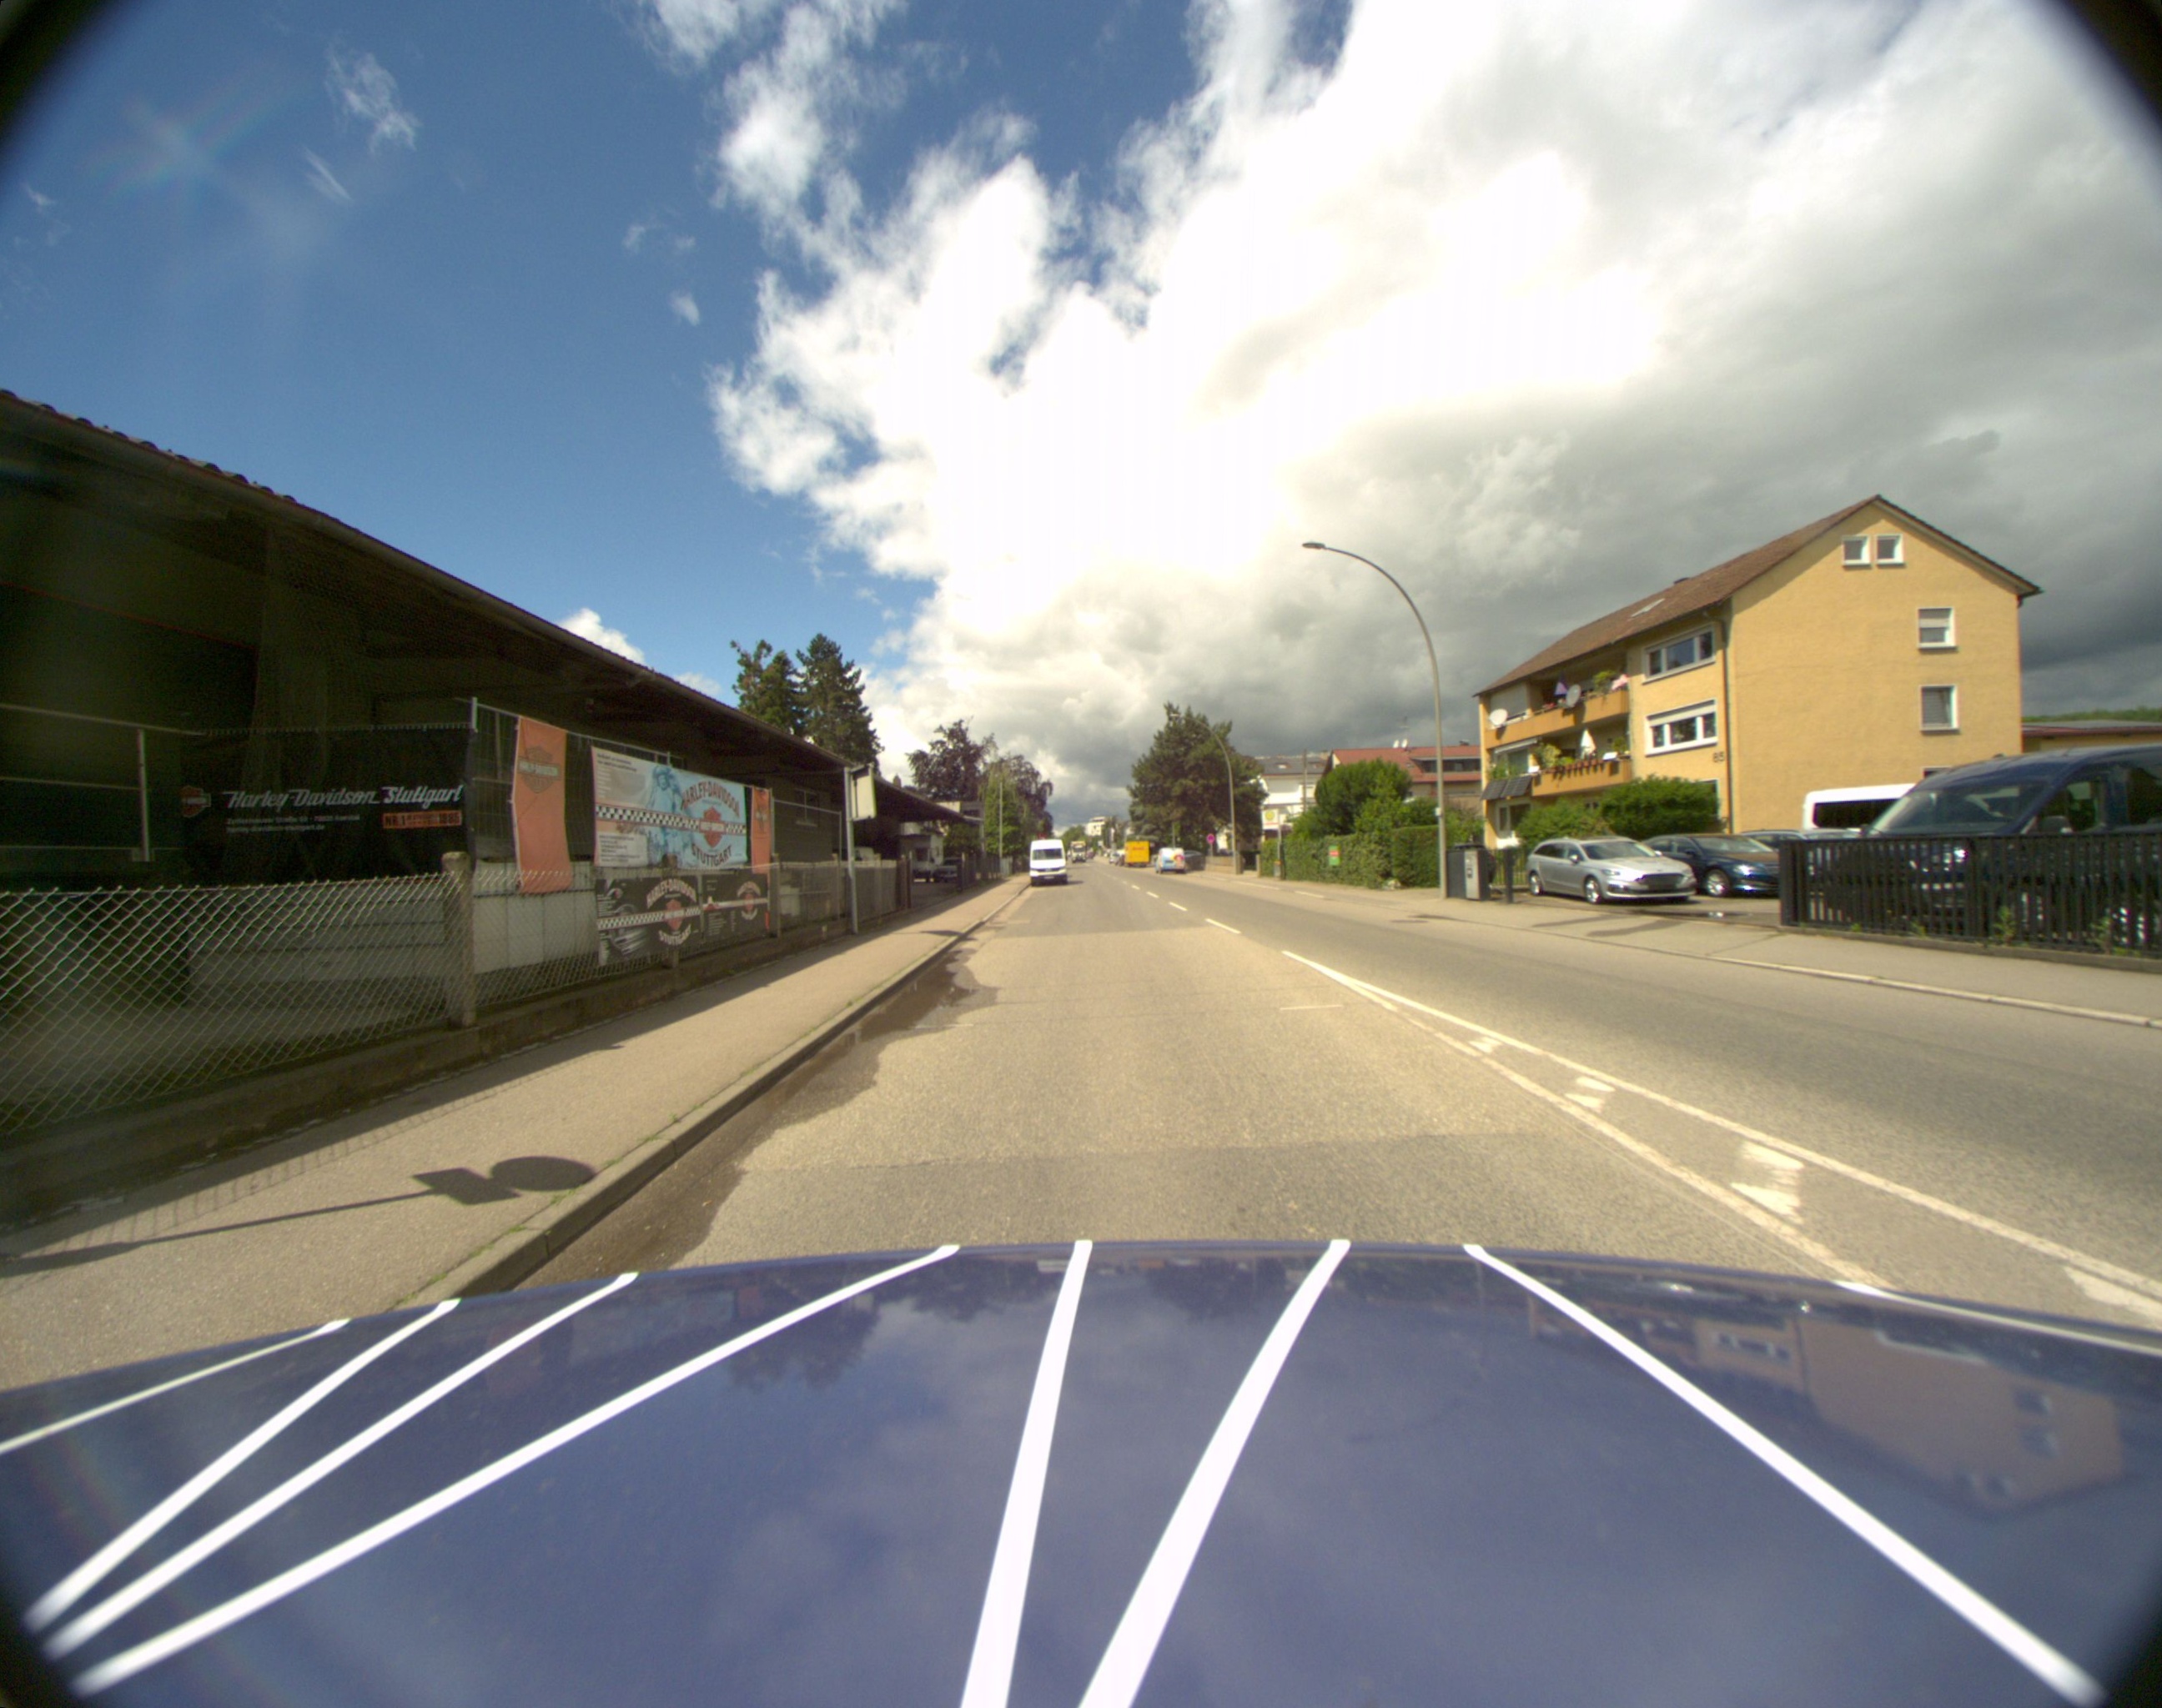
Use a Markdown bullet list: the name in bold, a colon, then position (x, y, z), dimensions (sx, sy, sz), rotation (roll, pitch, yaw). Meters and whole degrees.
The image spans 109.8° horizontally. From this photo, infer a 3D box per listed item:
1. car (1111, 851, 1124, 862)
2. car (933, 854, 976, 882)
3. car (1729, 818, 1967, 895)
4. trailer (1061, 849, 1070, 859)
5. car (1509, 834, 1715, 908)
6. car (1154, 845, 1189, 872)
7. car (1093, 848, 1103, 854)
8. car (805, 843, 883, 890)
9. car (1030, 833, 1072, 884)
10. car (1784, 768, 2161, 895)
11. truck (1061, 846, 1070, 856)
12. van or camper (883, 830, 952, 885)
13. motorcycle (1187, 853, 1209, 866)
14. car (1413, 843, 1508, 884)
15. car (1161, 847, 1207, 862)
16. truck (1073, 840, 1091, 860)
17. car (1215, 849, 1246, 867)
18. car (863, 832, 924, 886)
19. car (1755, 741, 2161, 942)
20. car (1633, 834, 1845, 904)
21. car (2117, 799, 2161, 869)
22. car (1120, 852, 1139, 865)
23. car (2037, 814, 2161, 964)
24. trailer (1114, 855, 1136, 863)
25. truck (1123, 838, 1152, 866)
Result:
- **car**: position (5.585, 0.432, 117.274), dimensions (1.809, 1.666, 4.127), rotation (0, 0, -1)
- **car**: position (-7.387, 0.784, 44.740), dimensions (1.769, 1.480, 4.926), rotation (-2, 0, -1)
- **car**: position (17.875, 0.043, 18.064), dimensions (1.848, 1.568, 4.334), rotation (-1, 0, 11)
- **trailer**: position (-3.594, -0.100, 177.289), dimensions (2.045, 2.214, 5.078), rotation (-1, 0, 0)
- **car**: position (12.448, 0.337, 18.348), dimensions (1.997, 1.477, 5.344), rotation (-2, 0, 10)
- **car**: position (6.563, 0.345, 55.619), dimensions (1.838, 1.842, 4.895), rotation (1, -1, -1)
- **car**: position (4.030, -0.671, 180.968), dimensions (1.906, 1.509, 4.317), rotation (-1, 0, -2)
- **car**: position (-10.488, 0.541, 34.049), dimensions (1.999, 1.898, 4.852), rotation (-2, 0, -1)
- **car**: position (-1.717, 0.213, 43.772), dimensions (2.221, 2.673, 6.656), rotation (-1, 0, -2)
- **car**: position (20.565, -0.451, 17.935), dimensions (2.418, 2.481, 6.135), rotation (0, 0, 2)
- **truck**: position (-4.626, -1.004, 228.891), dimensions (2.411, 2.722, 6.639), rotation (-4, 1, -1)
- **van or camper**: position (-9.929, 0.179, 46.934), dimensions (2.889, 3.043, 6.911), rotation (-2, 0, -2)
- **motorcycle**: position (10.560, 0.503, 68.476), dimensions (1.872, 1.159, 0.825), rotation (-2, 0, 16)
- **car**: position (14.259, 0.314, 28.842), dimensions (1.848, 1.418, 4.332), rotation (-2, 0, 7)
- **car**: position (11.918, 0.086, 87.996), dimensions (5.021, 1.543, 1.972), rotation (-2, 1, -2)
- **truck**: position (0.195, -0.820, 137.307), dimensions (2.880, 3.290, 8.605), rotation (-4, 1, -1)
- **car**: position (13.674, 0.341, 69.665), dimensions (1.772, 1.534, 4.086), rotation (-2, 0, -5)
- **car**: position (-9.992, 0.295, 40.908), dimensions (2.023, 2.665, 5.497), rotation (-2, -1, -2)
- **car**: position (13.810, -0.207, 10.926), dimensions (6.053, 2.482, 2.477), rotation (-2, 0, -1)
- **car**: position (15.266, 0.300, 18.002), dimensions (1.848, 1.418, 4.334), rotation (-1, 0, 11)
- **car**: position (28.634, -0.533, 18.160), dimensions (1.849, 1.781, 4.330), rotation (-2, 0, 0)
- **car**: position (5.945, 0.547, 93.274), dimensions (1.999, 1.445, 4.811), rotation (2, 0, -1)
- **car**: position (12.531, 0.344, 6.967), dimensions (2.037, 1.585, 4.283), rotation (-2, 0, -4)
- **trailer**: position (5.726, 0.667, 99.587), dimensions (2.324, 0.985, 7.457), rotation (0, 0, -1)
- **truck**: position (6.300, -0.221, 85.567), dimensions (2.330, 2.986, 7.816), rotation (0, 0, -2)
